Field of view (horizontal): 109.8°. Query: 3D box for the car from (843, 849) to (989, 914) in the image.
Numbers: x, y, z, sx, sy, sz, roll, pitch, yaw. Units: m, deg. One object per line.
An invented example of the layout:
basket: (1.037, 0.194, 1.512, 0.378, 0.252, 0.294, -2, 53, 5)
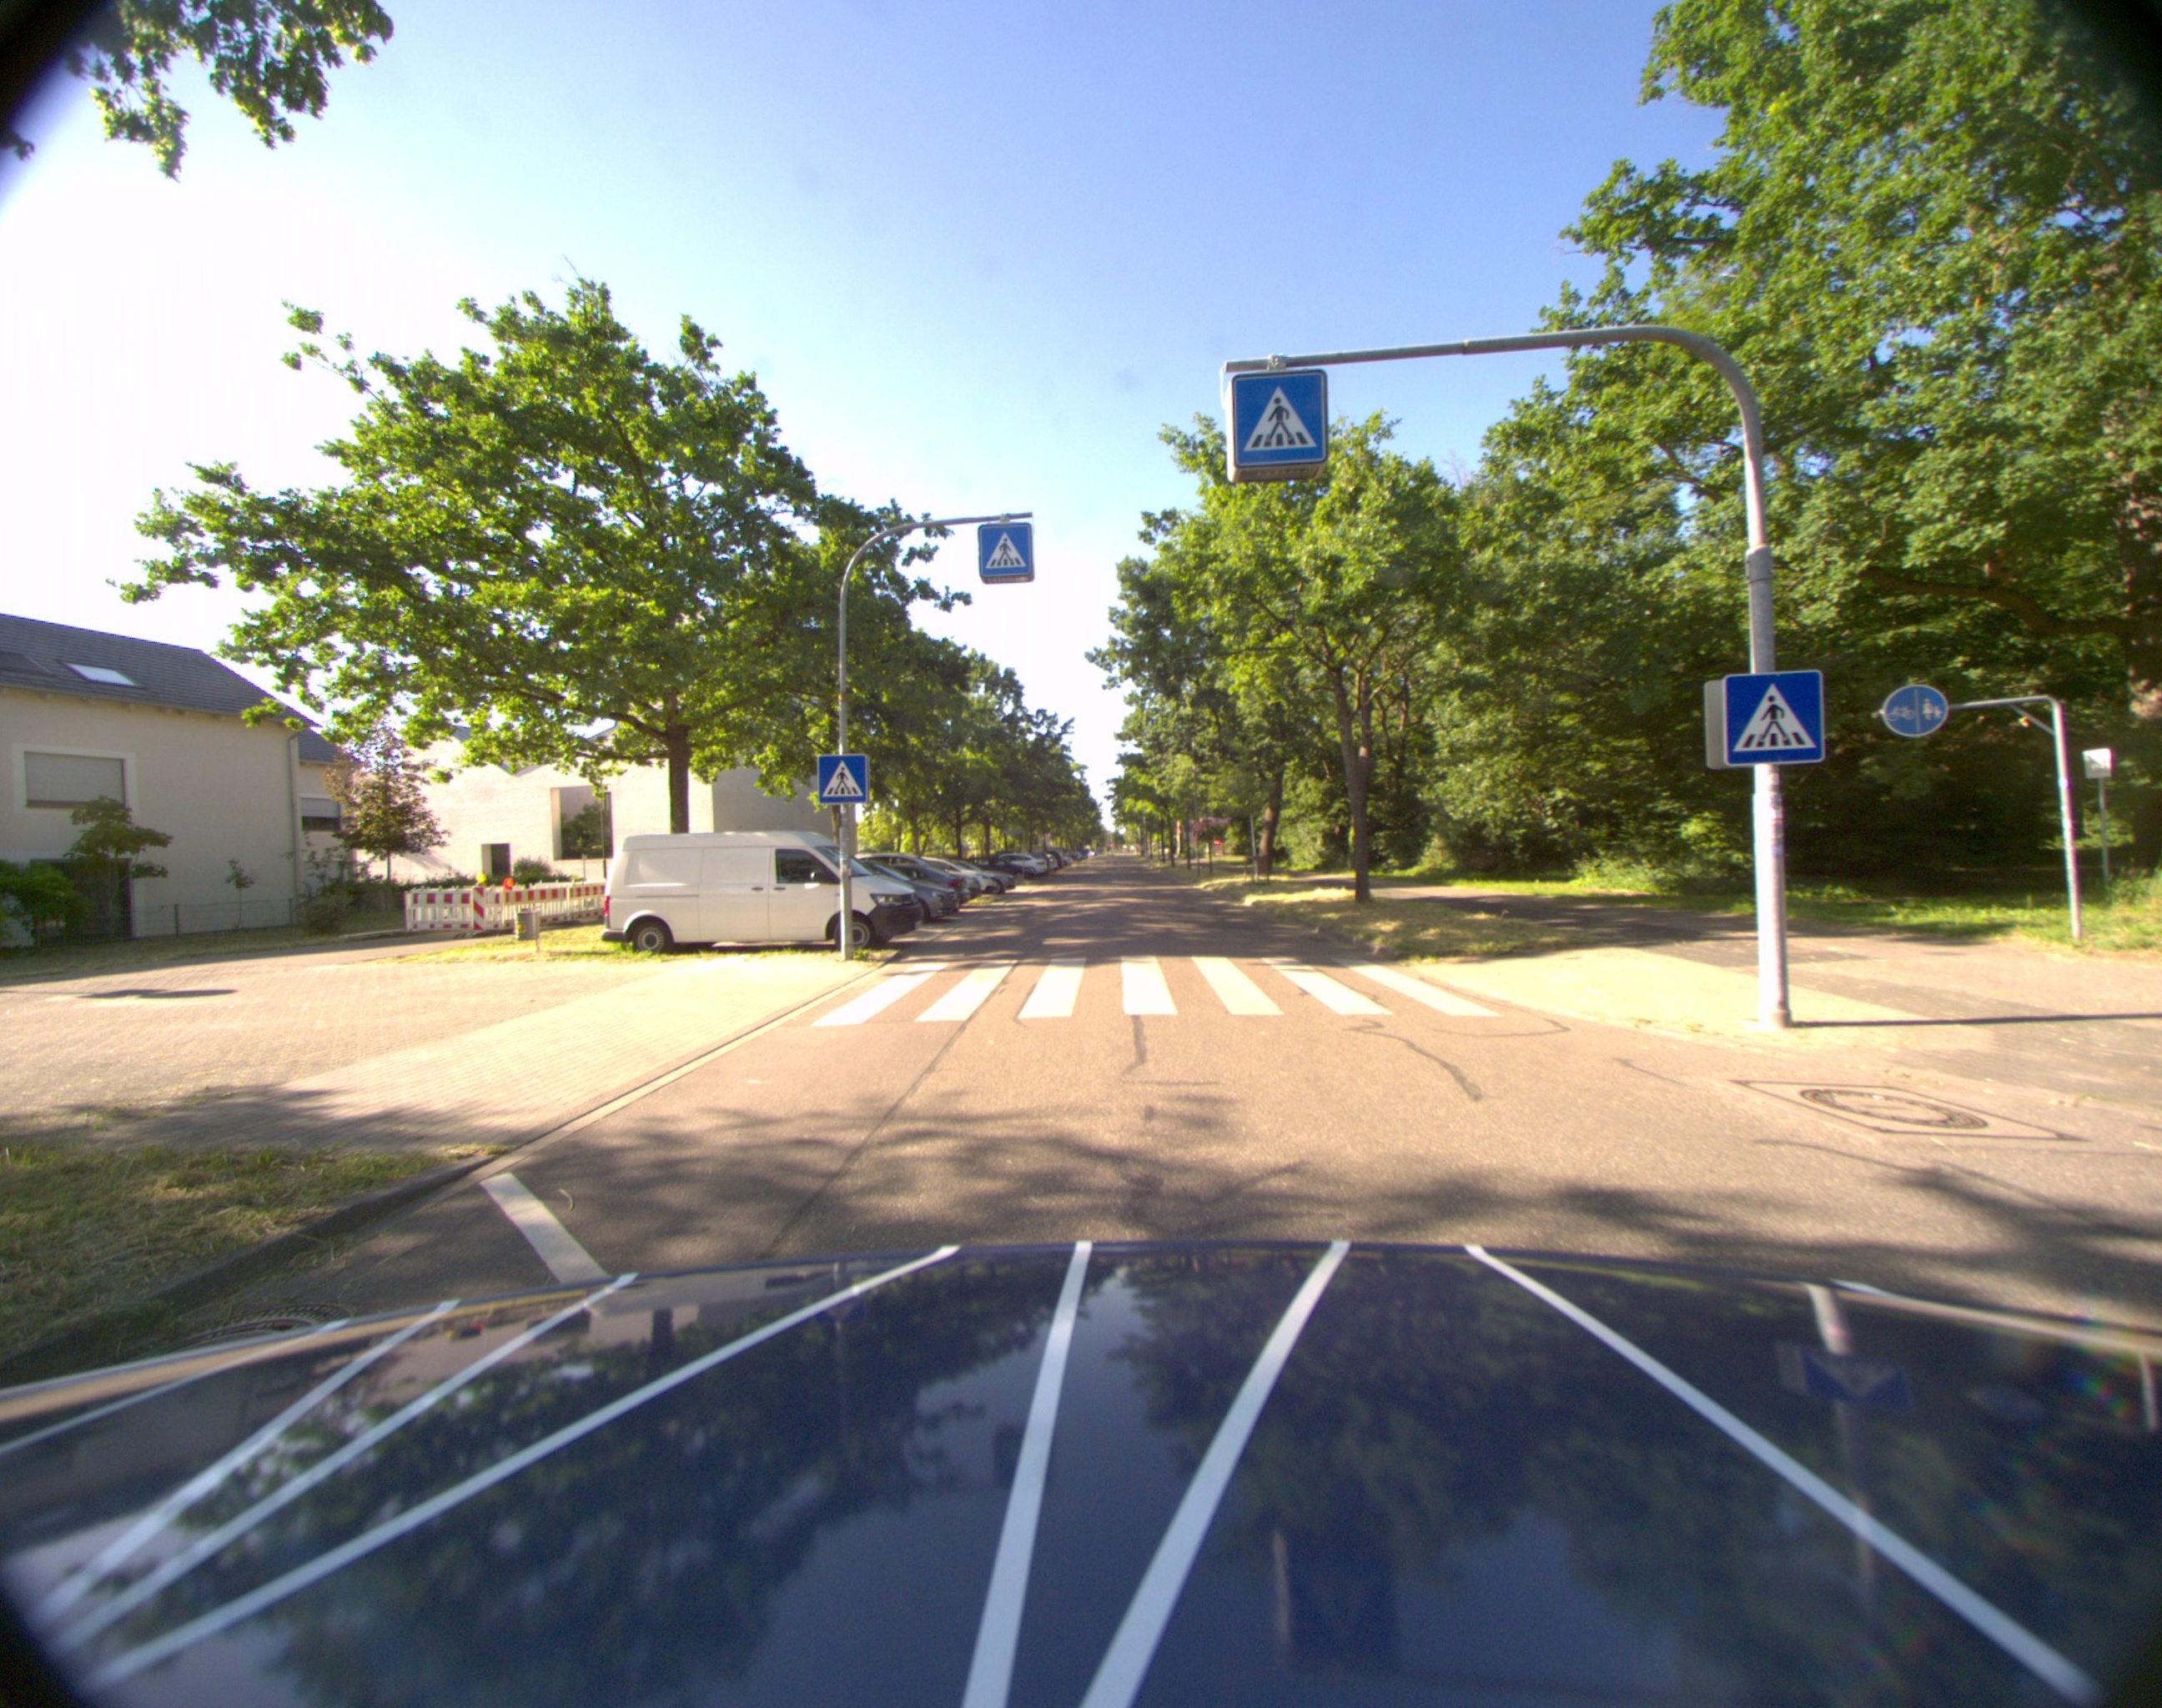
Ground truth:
car: (-5.036, 0.823, 23.560, 4.018, 1.783, 1.713, -3, 1, 4)

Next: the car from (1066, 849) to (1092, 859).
car: (-0.299, -0.073, 122.441, 4.151, 1.401, 1.800, -3, 1, 3)

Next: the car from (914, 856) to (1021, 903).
car: (-4.620, 1.024, 31.144, 4.018, 1.650, 1.533, -3, 1, 4)

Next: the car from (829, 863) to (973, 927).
car: (-4.905, 1.116, 20.976, 3.515, 1.533, 1.448, -3, 1, 4)

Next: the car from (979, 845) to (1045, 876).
car: (-4.861, 0.446, 53.726, 4.394, 1.977, 1.533, -3, 1, 4)

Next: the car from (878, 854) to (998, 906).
car: (-5.248, 0.936, 28.171, 4.018, 1.669, 1.533, -3, 1, 4)

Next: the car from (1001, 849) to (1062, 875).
car: (-3.715, 0.592, 57.538, 4.394, 1.733, 1.533, -3, 1, 4)

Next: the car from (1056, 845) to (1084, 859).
car: (-1.643, -0.302, 117.455, 4.151, 1.838, 1.949, -3, 1, 3)

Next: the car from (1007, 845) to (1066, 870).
car: (-3.443, 0.247, 59.607, 4.394, 1.733, 1.533, -3, 1, 4)

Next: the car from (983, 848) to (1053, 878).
car: (-4.137, 0.578, 50.413, 4.394, 1.733, 1.533, -3, 1, 4)

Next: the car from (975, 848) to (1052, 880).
car: (-4.097, 0.616, 46.274, 4.394, 1.733, 1.533, -3, 1, 4)

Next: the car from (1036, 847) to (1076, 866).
car: (-2.638, 0.265, 80.174, 3.996, 1.838, 1.863, -3, 1, 3)

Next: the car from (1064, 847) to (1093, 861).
car: (-0.386, 0.013, 112.354, 4.151, 1.838, 1.949, -3, 1, 3)

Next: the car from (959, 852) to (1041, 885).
car: (-4.571, 0.818, 43.261, 4.394, 1.632, 1.533, -3, 1, 4)

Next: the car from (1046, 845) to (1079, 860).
car: (-2.395, -0.169, 101.176, 4.151, 1.838, 1.949, -3, 1, 3)

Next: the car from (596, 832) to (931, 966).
car: (-5.394, 0.736, 13.366, 5.045, 2.069, 1.891, -1, 1, 2)

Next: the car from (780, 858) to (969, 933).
car: (-4.942, 0.974, 18.518, 3.996, 1.554, 1.758, -3, 1, 4)
